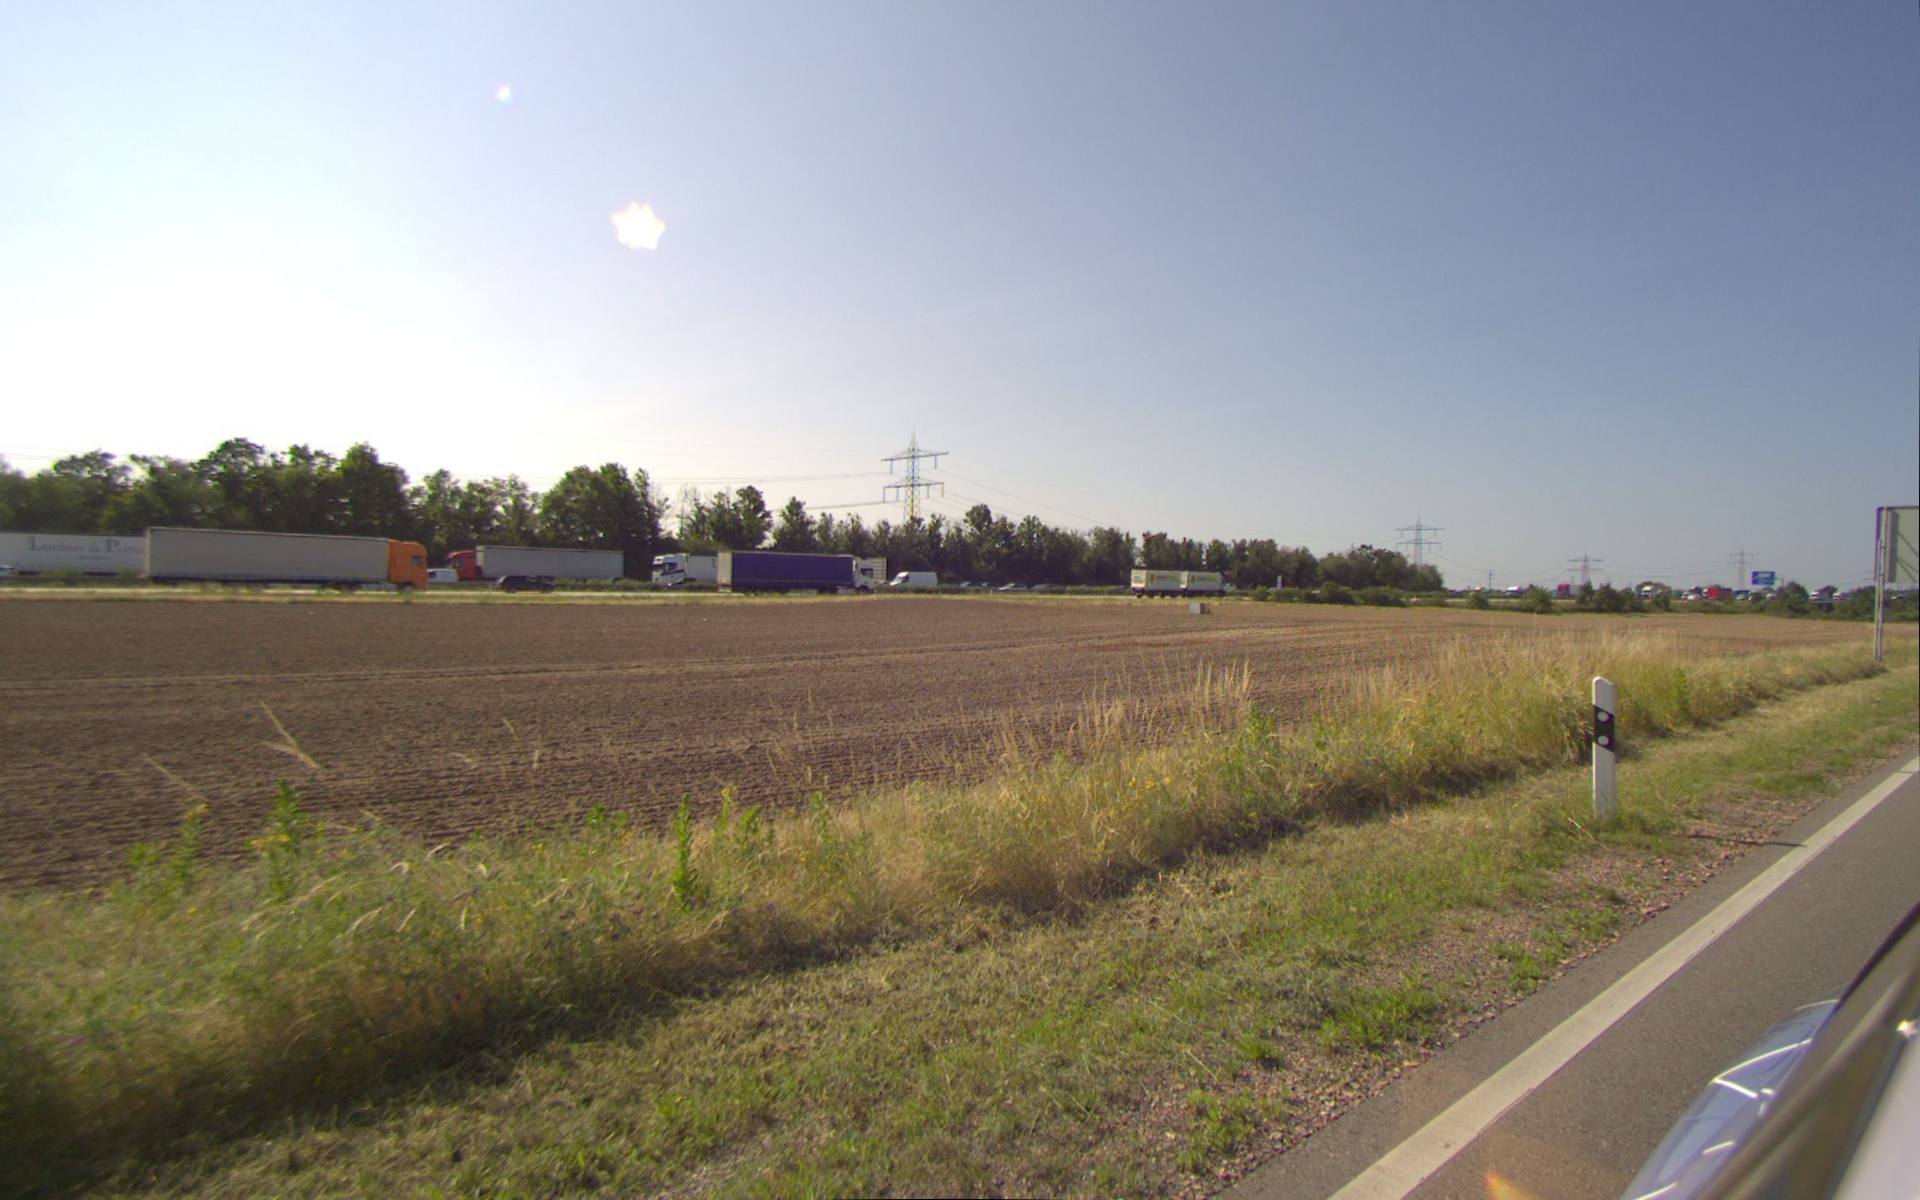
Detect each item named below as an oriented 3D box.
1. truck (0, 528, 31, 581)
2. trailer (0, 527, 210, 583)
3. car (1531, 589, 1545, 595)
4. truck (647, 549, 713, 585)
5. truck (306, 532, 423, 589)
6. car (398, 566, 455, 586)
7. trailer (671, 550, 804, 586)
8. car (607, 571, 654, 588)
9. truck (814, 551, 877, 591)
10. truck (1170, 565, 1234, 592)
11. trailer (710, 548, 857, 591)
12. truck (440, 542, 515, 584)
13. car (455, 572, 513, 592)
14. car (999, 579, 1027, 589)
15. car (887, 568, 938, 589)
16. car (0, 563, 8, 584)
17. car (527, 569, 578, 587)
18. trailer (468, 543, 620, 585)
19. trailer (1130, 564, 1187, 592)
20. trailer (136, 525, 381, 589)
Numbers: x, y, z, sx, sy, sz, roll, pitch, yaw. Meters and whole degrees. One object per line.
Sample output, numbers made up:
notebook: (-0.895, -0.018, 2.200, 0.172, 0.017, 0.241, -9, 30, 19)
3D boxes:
truck: (-70.597, -3.301, 72.342, 6.009, 3.780, 3.078, 0, 1, -40)
trailer: (-65.226, -3.300, 76.871, 13.129, 3.780, 3.078, 0, 1, -40)
car: (127.792, -1.836, 223.607, 3.488, 1.279, 1.581, 0, 0, -40)
truck: (-29.934, -3.506, 108.157, 6.003, 3.575, 3.208, 0, 2, -42)
truck: (-42.990, -2.768, 73.185, 6.830, 3.897, 3.108, 0, 0, -41)
car: (-45.517, -2.014, 86.338, 4.023, 1.659, 1.705, 0, 0, -42)
trailer: (-24.606, -3.494, 112.900, 14.822, 3.575, 3.208, 0, 2, -42)
car: (-32.127, -2.006, 98.588, 4.022, 1.528, 1.705, 0, 0, -41)
truck: (-11.316, -2.822, 100.336, 5.516, 3.850, 3.076, -1, 1, -43)
truck: (33.410, -2.956, 139.607, 10.928, 3.521, 2.810, 0, 1, -42)
trailer: (-16.413, -2.806, 95.664, 14.345, 3.850, 3.075, -1, 1, -43)
truck: (-45.222, -3.420, 94.976, 5.767, 3.780, 2.950, 0, 1, -41)
car: (-38.528, -1.427, 81.929, 3.825, 1.595, 1.997, 0, 0, -41)
car: (6.834, -2.050, 130.493, 3.795, 1.139, 1.343, 0, 0, -41)
car: (-5.706, -2.548, 122.799, 6.300, 2.478, 2.041, 0, 0, -40)
car: (-67.228, -1.827, 68.329, 4.174, 1.403, 1.853, 1, -1, -42)
car: (-37.546, -2.006, 93.219, 4.022, 1.528, 1.705, 0, 0, -41)
trailer: (-40.474, -3.415, 99.142, 13.542, 3.780, 2.950, 0, 1, -41)
trailer: (26.197, -2.894, 133.128, 8.567, 3.458, 2.797, 0, 1, -42)
trailer: (-47.543, -2.779, 69.164, 13.480, 3.897, 3.108, 0, 0, -42)
